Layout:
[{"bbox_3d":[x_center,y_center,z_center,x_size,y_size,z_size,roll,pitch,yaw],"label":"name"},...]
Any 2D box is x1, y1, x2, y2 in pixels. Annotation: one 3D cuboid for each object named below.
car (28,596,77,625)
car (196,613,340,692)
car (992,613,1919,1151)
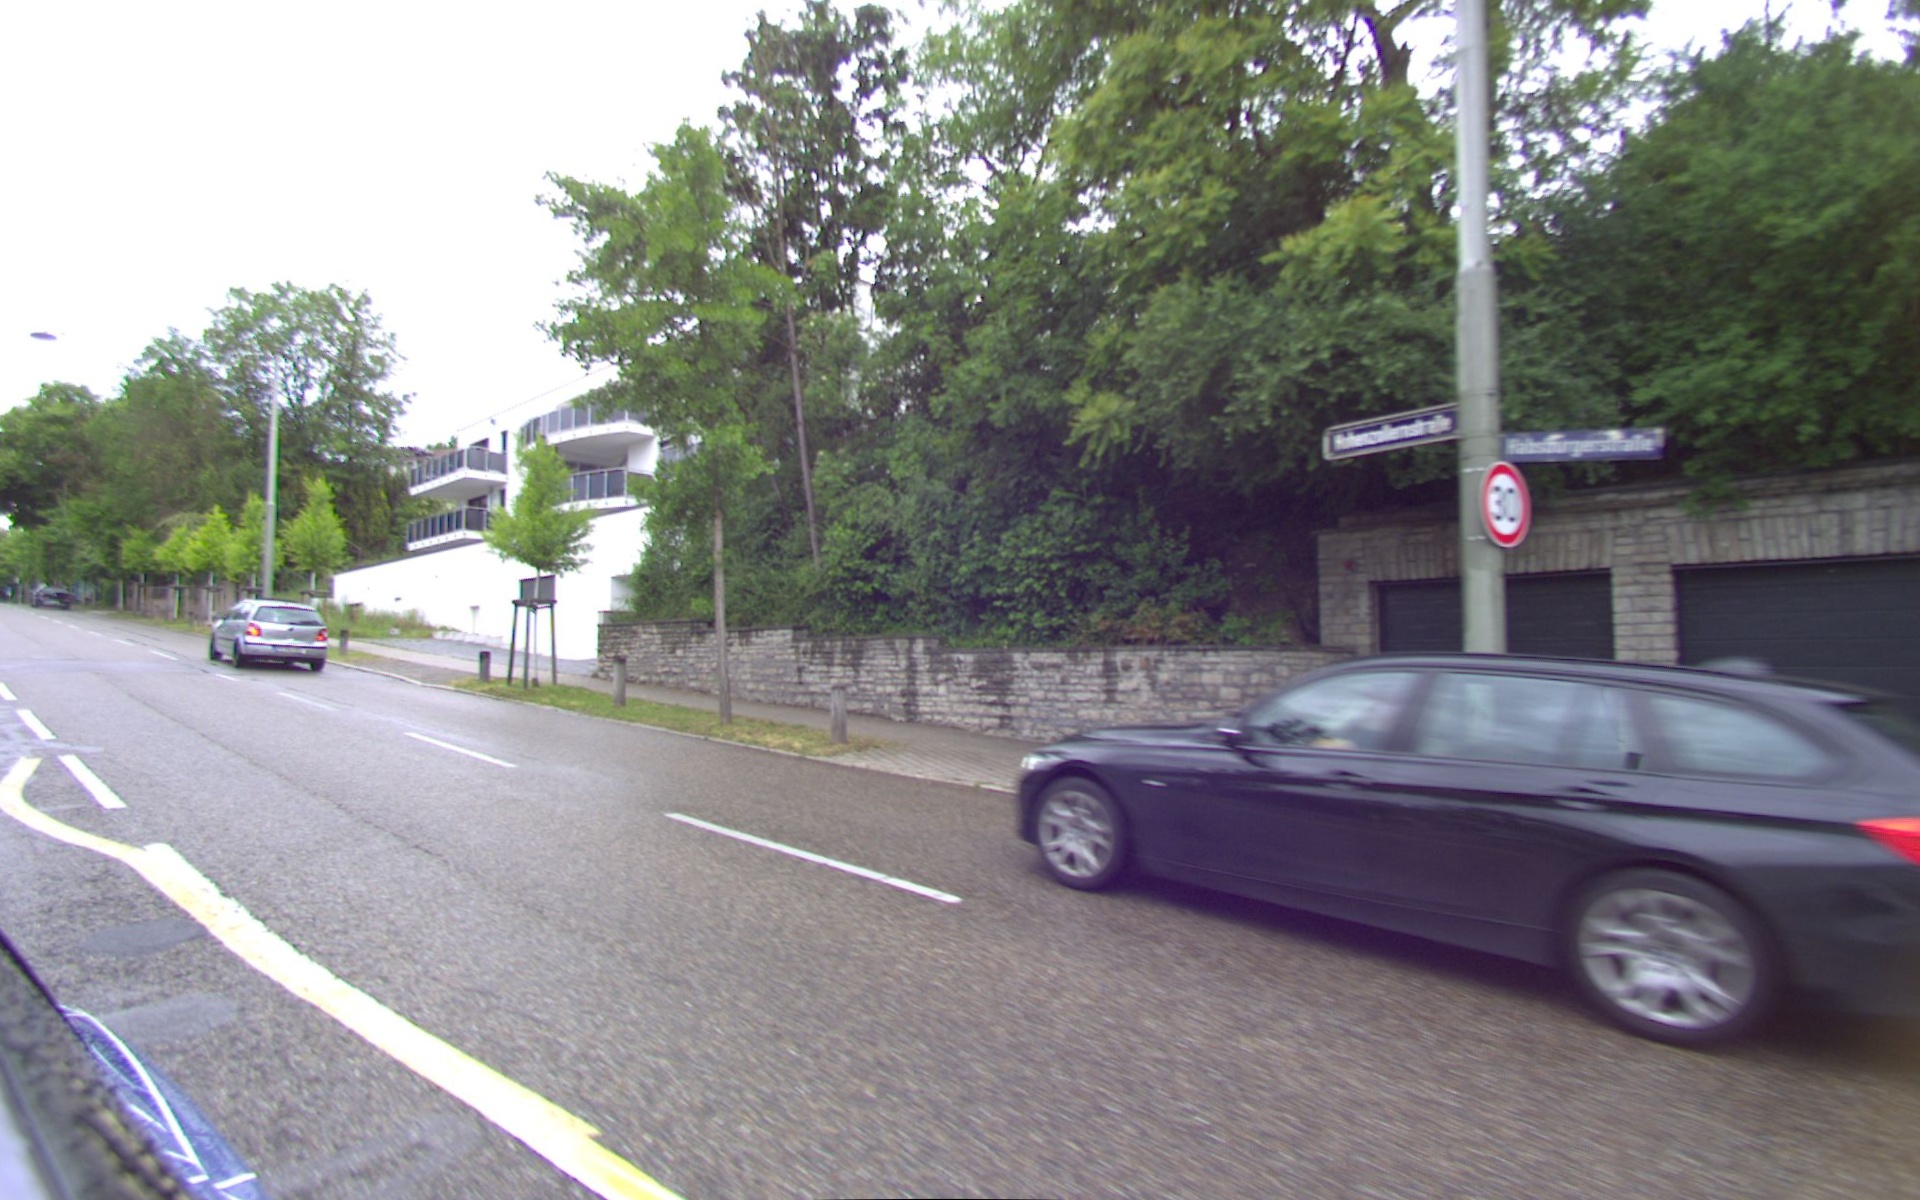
[{"bbox_3d":[-54.780,0.624,61.090,3.918,1.560,1.726,1,-5,43],"label":"car"},{"bbox_3d":[-15.224,1.115,22.194,3.802,1.497,1.745,0,-6,44],"label":"car"},{"bbox_3d":[2.496,0.983,5.078,1.889,1.597,4.591,8,-5,-43],"label":"car"}]
